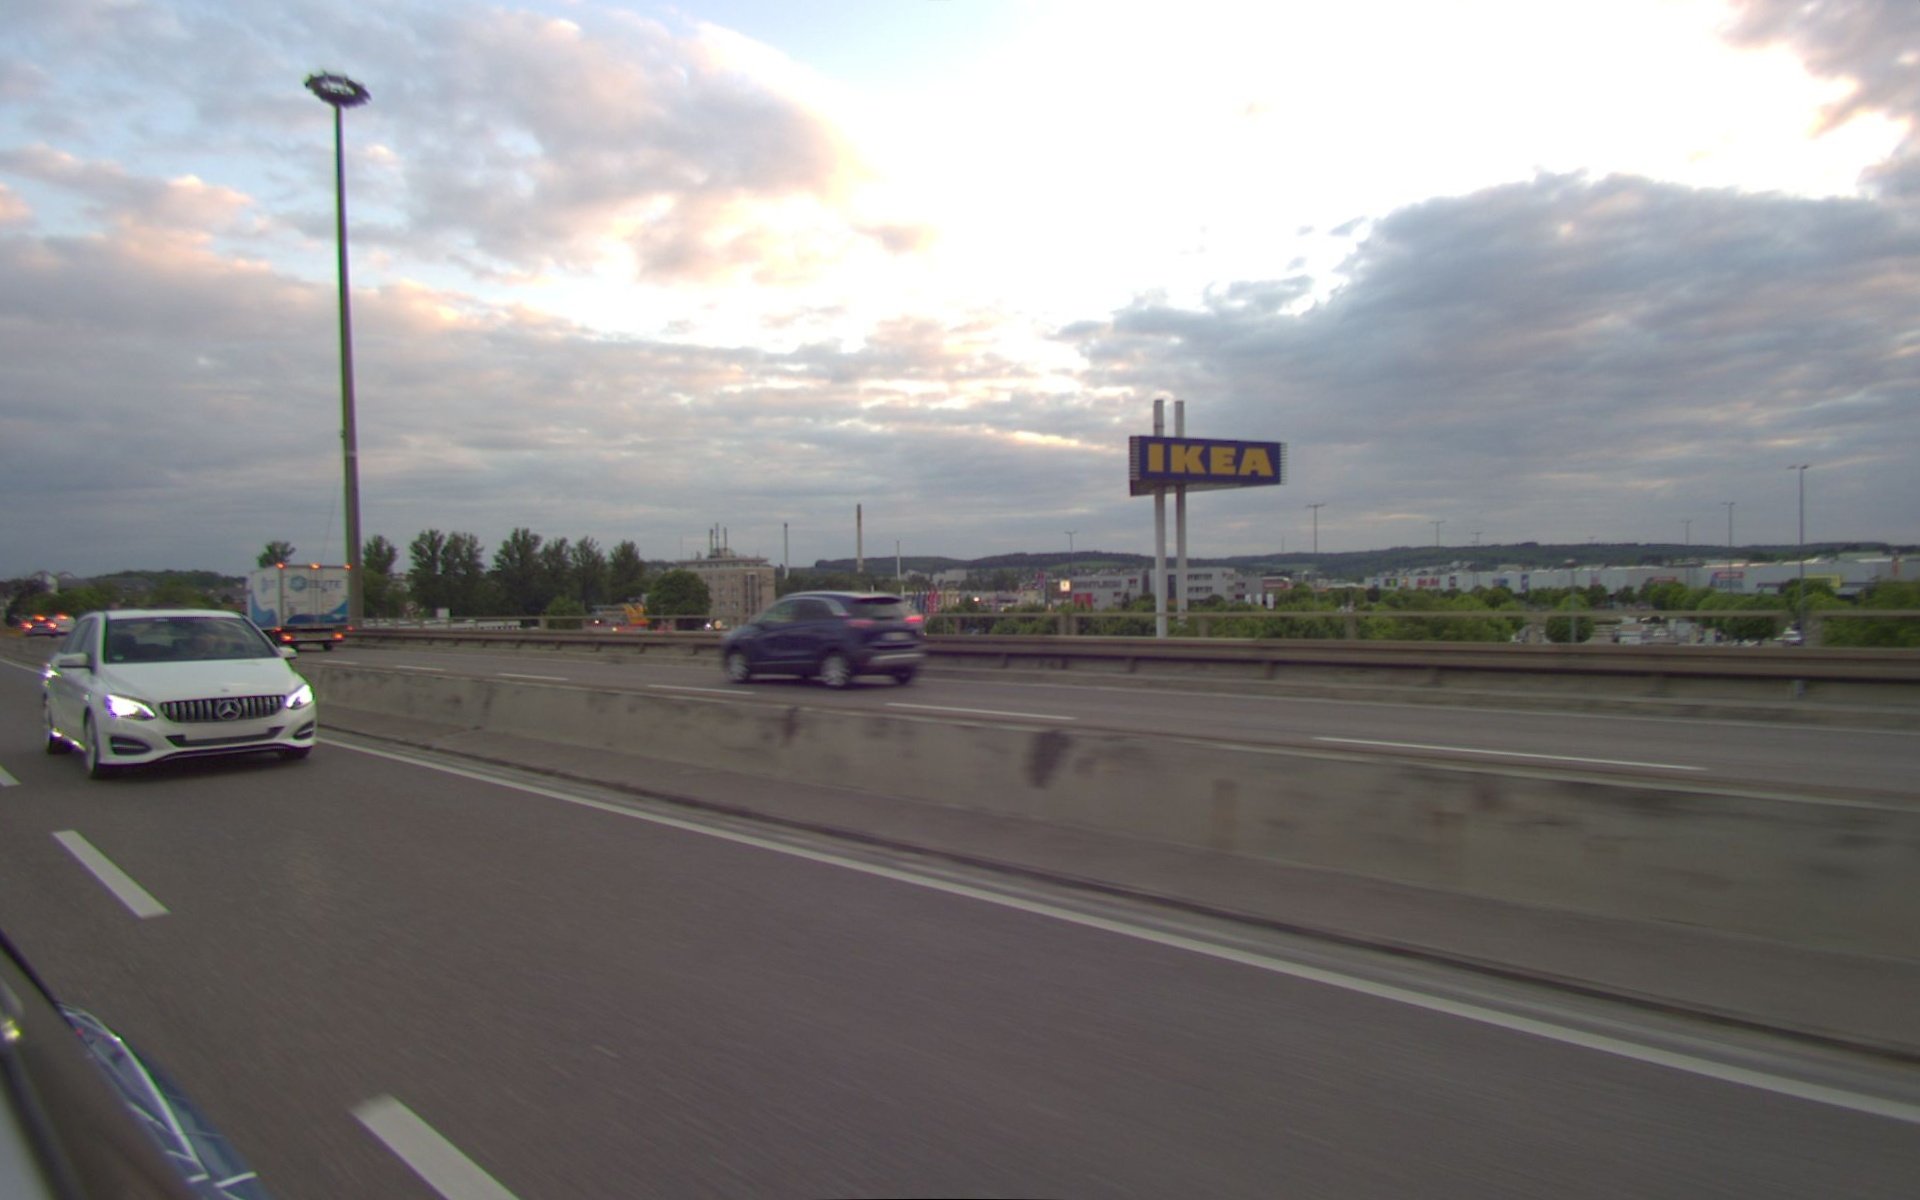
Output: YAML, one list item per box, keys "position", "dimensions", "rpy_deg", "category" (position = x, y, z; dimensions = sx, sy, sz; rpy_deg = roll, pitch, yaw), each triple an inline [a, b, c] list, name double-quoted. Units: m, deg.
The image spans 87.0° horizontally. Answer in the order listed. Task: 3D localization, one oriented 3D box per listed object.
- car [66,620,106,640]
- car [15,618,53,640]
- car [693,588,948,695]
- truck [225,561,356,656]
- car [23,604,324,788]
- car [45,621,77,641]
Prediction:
- position: [-66.928, 2.285, 77.488]
  dimensions: [4.817, 1.514, 1.811]
  rpy_deg: [-1, -1, 43]
  category: "car"
- position: [-65.227, 2.021, 71.280]
  dimensions: [3.835, 1.452, 1.611]
  rpy_deg: [-3, -2, 42]
  category: "car"
- position: [-2.517, 0.652, 17.563]
  dimensions: [4.439, 1.618, 1.956]
  rpy_deg: [-1, -1, 41]
  category: "car"
- position: [-25.795, 0.343, 38.835]
  dimensions: [7.446, 3.322, 2.507]
  rpy_deg: [-1, -1, 43]
  category: "truck"
- position: [-8.532, 0.898, 10.791]
  dimensions: [4.781, 1.549, 1.673]
  rpy_deg: [-3, -2, 41]
  category: "car"
- position: [-89.545, 3.072, 100.798]
  dimensions: [5.459, 1.915, 1.880]
  rpy_deg: [-1, -1, 43]
  category: "car"
